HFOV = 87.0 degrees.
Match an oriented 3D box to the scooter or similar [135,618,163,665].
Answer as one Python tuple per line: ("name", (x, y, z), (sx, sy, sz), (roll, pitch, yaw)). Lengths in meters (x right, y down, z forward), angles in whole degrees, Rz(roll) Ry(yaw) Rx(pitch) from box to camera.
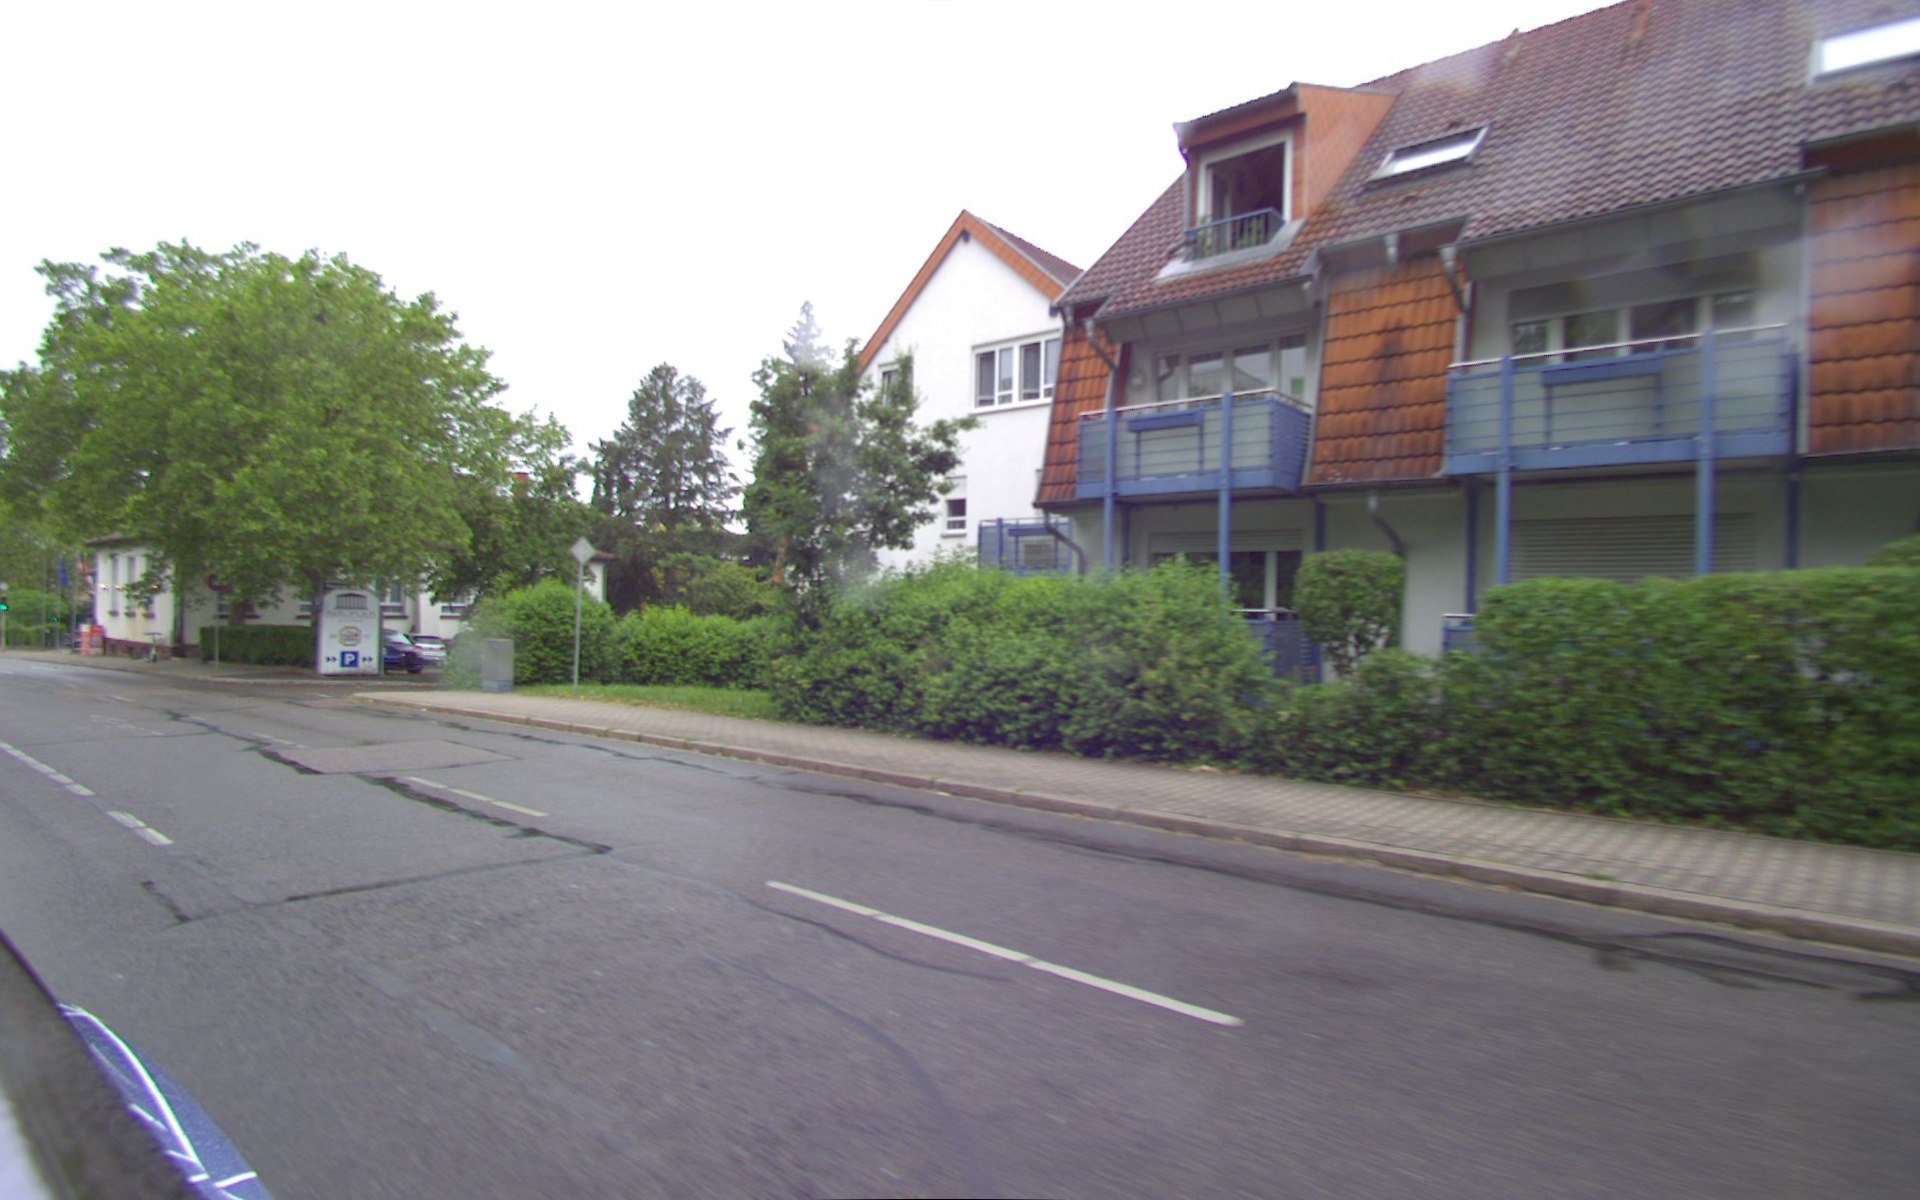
("scooter or similar", (-31.140, 1.574, 38.859), (1.509, 1.788, 0.397), (0, -1, 35))

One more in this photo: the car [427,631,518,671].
("car", (-22.149, 2.315, 45.941), (4.251, 1.698, 1.975), (-2, -4, 37))

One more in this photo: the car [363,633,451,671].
("car", (-23.965, 2.231, 43.812), (4.280, 1.452, 1.734), (0, -5, 38))
